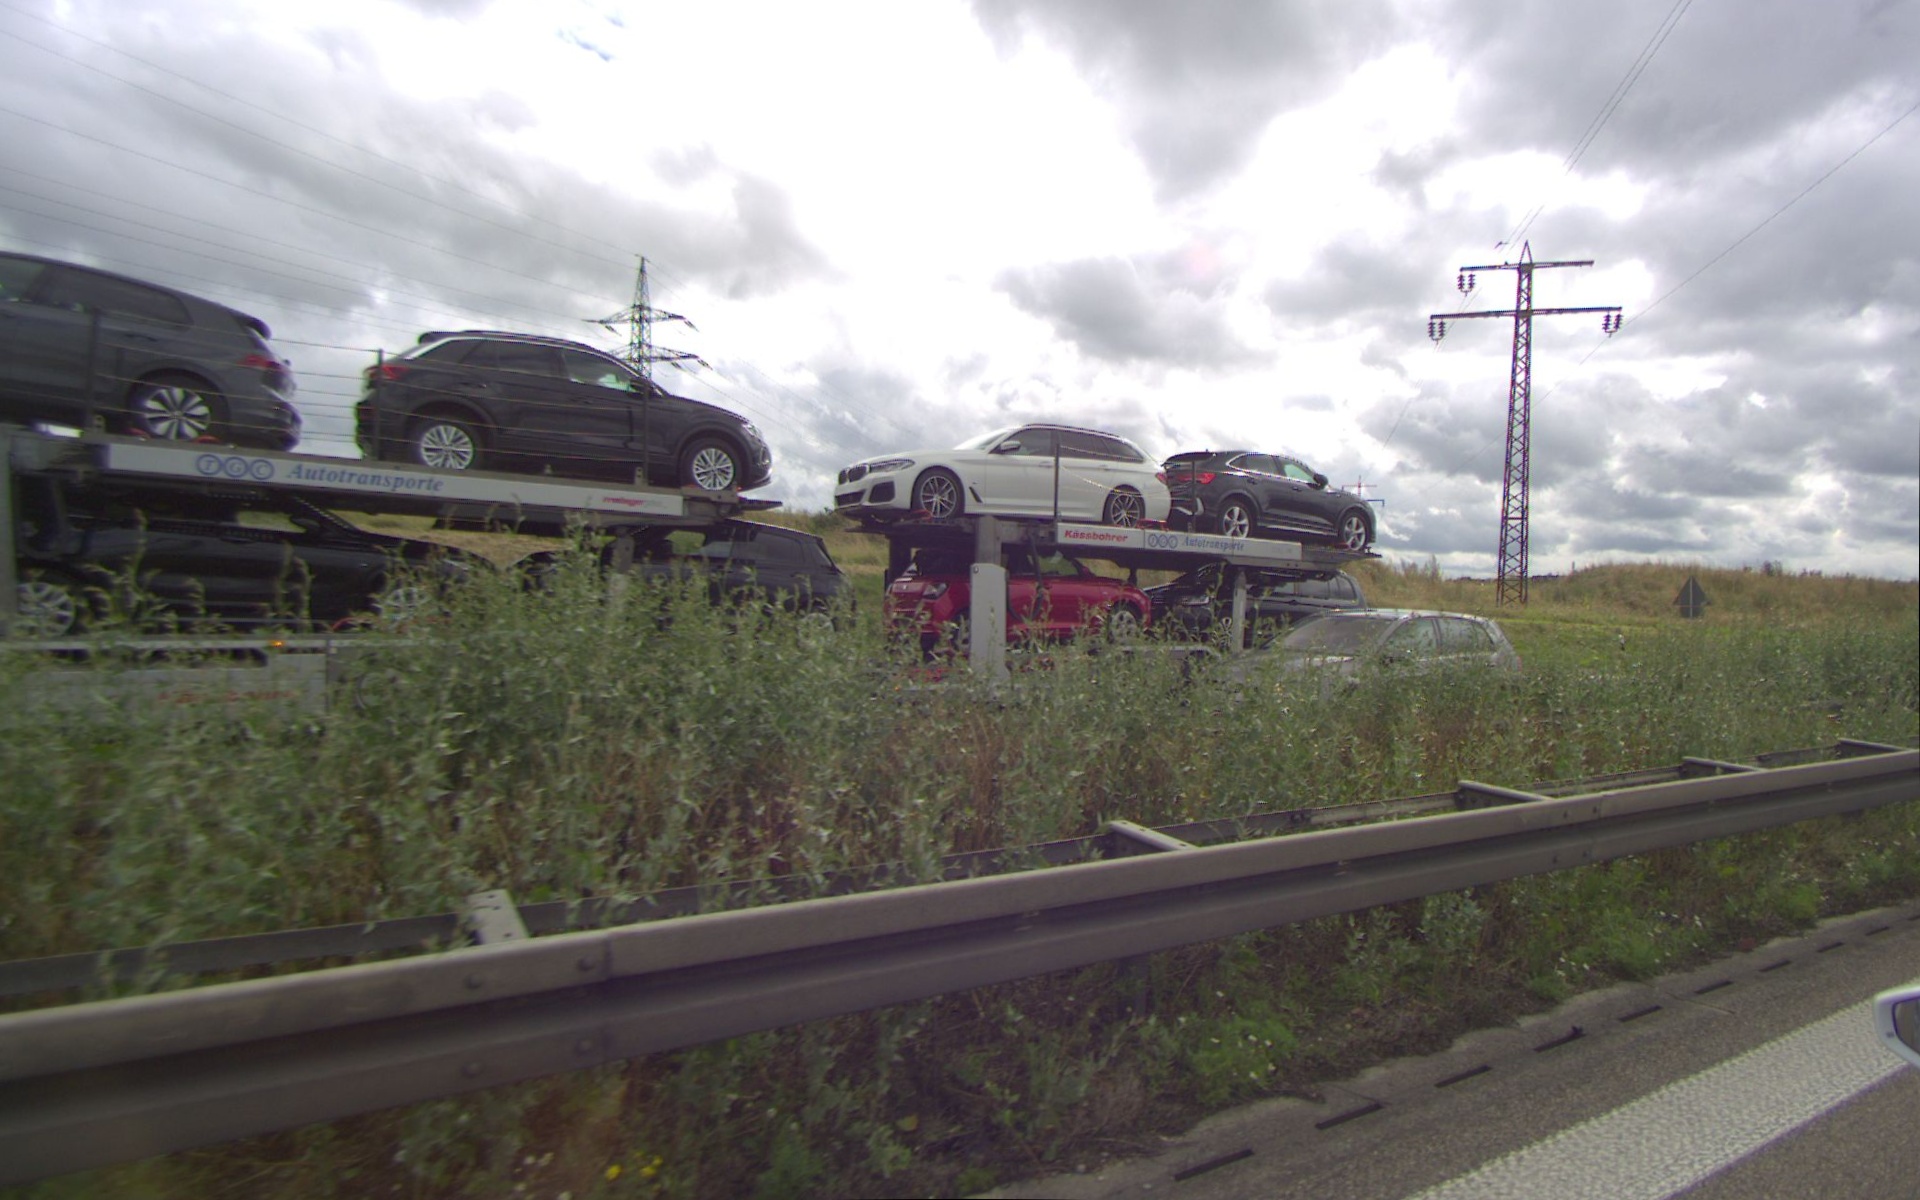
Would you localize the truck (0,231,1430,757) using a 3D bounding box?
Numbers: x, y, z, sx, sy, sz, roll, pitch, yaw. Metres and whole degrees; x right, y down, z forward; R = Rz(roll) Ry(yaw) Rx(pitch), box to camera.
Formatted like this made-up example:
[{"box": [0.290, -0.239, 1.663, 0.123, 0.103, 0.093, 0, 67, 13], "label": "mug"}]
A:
[{"box": [-0.504, -0.622, 13.121, 17.196, 3.988, 2.710, 1, -1, -30], "label": "truck"}]

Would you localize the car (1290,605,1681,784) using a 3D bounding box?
[{"box": [6.104, 0.976, 11.601, 4.249, 1.684, 1.985, 2, 0, -29], "label": "car"}]

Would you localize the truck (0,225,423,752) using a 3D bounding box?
[{"box": [-8.071, -0.845, 8.719, 5.916, 3.988, 2.710, 1, -1, -30], "label": "truck"}]
